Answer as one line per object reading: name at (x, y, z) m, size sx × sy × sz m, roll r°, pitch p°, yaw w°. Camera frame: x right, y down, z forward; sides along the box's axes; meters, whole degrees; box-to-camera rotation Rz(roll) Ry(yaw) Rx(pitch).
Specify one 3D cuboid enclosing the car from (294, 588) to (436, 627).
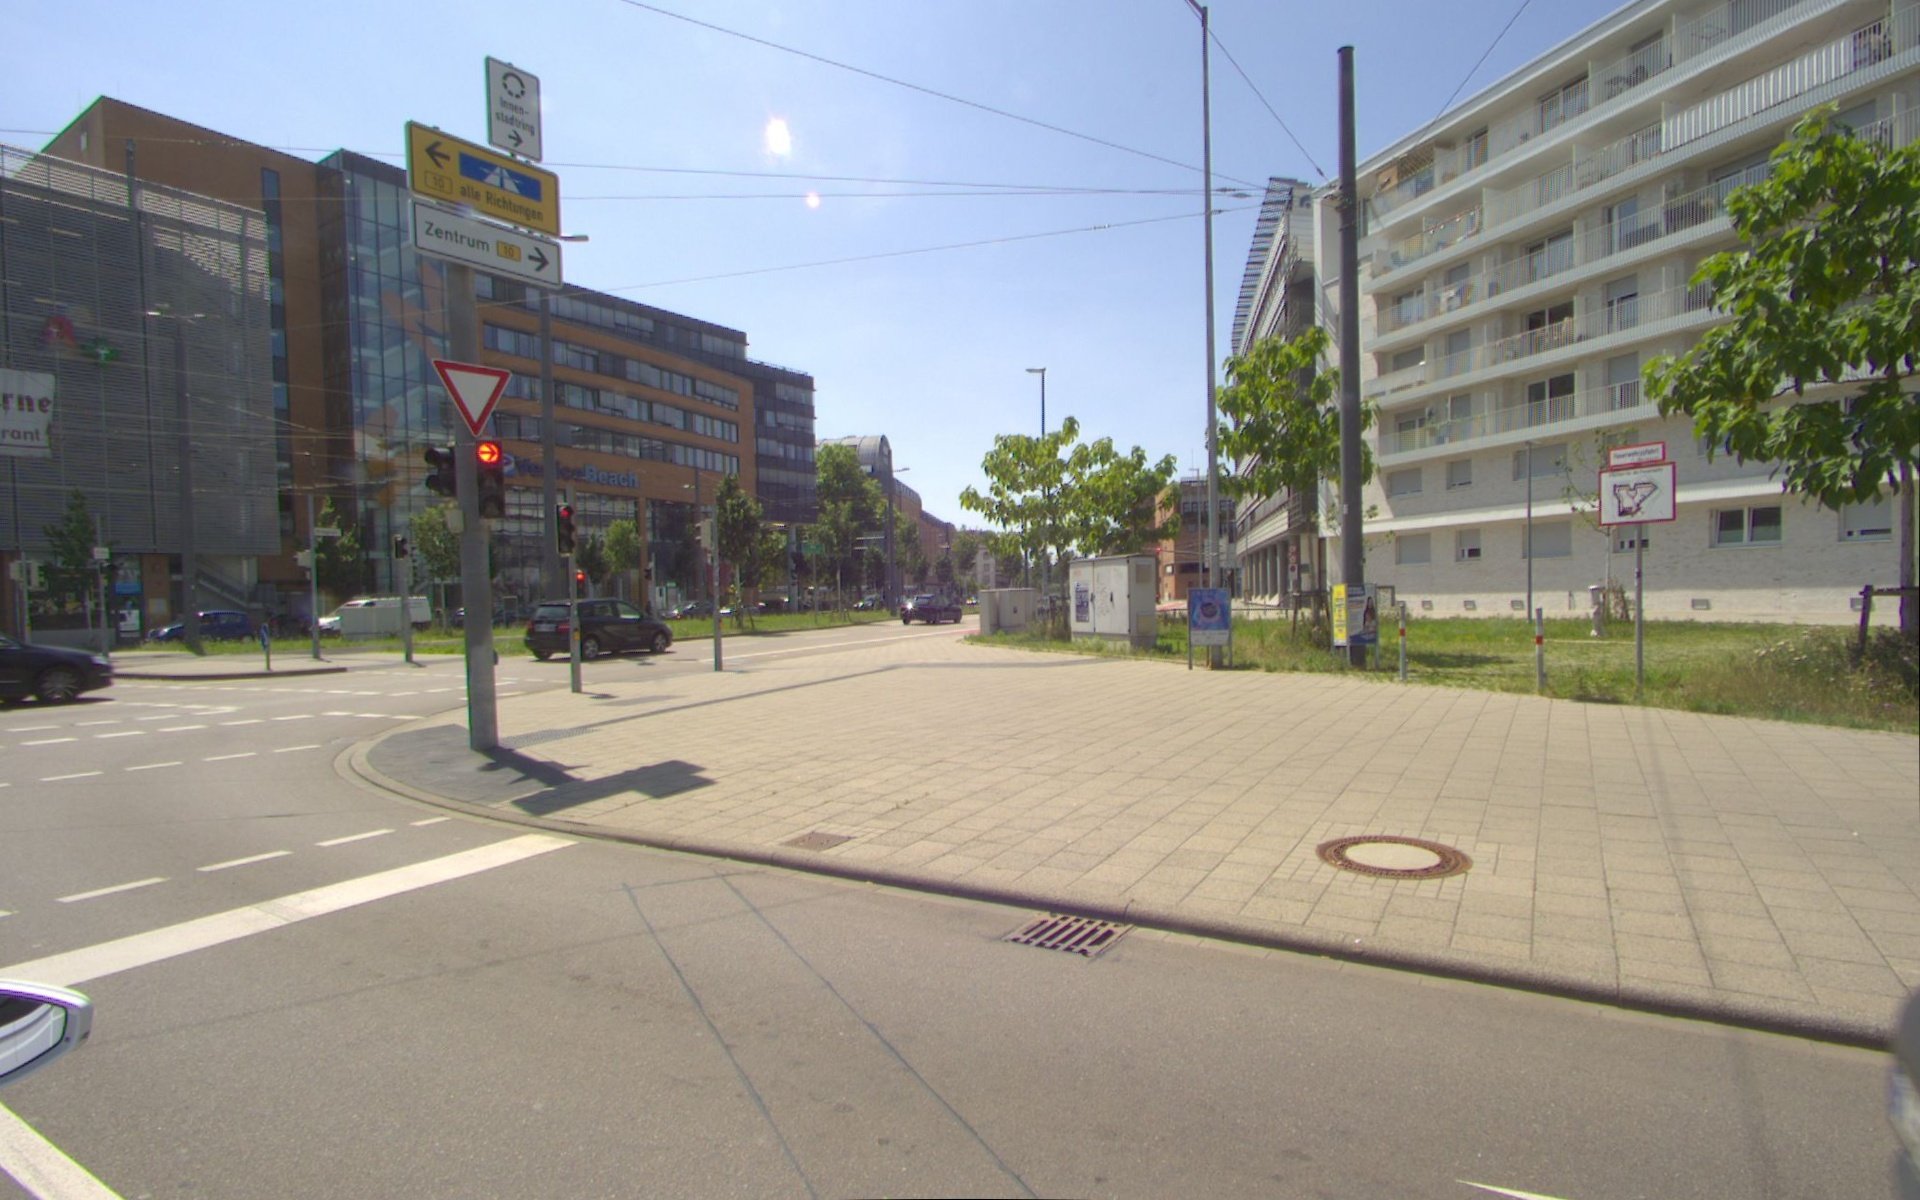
car at (-27.381, 0.352, 46.316) m, size 1.969 × 1.690 × 5.459 m, roll 0°, pitch 0°, yaw 27°

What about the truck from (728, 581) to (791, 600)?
truck at (-29.366, -1.370, 146.657) m, size 9.067 × 2.846 × 1.998 m, roll 0°, pitch 0°, yaw 13°

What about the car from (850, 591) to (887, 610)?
car at (-8.569, 0.078, 93.695) m, size 1.773 × 1.751 × 3.988 m, roll 0°, pitch 0°, yaw 24°

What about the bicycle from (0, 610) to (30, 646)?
bicycle at (-43.334, 1.256, 44.486) m, size 0.695 × 1.578 × 2.840 m, roll 0°, pitch 0°, yaw 35°

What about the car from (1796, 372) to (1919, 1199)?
car at (3.957, 0.506, 0.563) m, size 5.090 × 1.858 × 1.851 m, roll 0°, pitch 0°, yaw 31°

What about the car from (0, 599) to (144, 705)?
car at (-15.703, 0.788, 15.148) m, size 1.968 × 1.601 × 4.852 m, roll 0°, pitch 0°, yaw 27°

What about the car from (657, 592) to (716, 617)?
car at (-17.917, 0.282, 65.822) m, size 1.605 × 1.595 × 3.818 m, roll 0°, pitch 0°, yaw 28°

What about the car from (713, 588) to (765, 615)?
car at (-17.017, 0.108, 77.131) m, size 1.966 × 2.040 × 3.989 m, roll 0°, pitch 0°, yaw 23°

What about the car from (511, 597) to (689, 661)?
car at (-9.572, 0.718, 26.959) m, size 1.969 × 1.574 × 4.315 m, roll 0°, pitch 0°, yaw 29°

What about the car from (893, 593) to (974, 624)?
car at (-1.277, 0.415, 50.101) m, size 1.860 × 1.479 × 4.758 m, roll 0°, pitch 0°, yaw 30°

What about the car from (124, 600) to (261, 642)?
car at (-30.634, 0.803, 40.088) m, size 1.853 × 1.559 × 3.980 m, roll 0°, pitch 0°, yaw 31°
